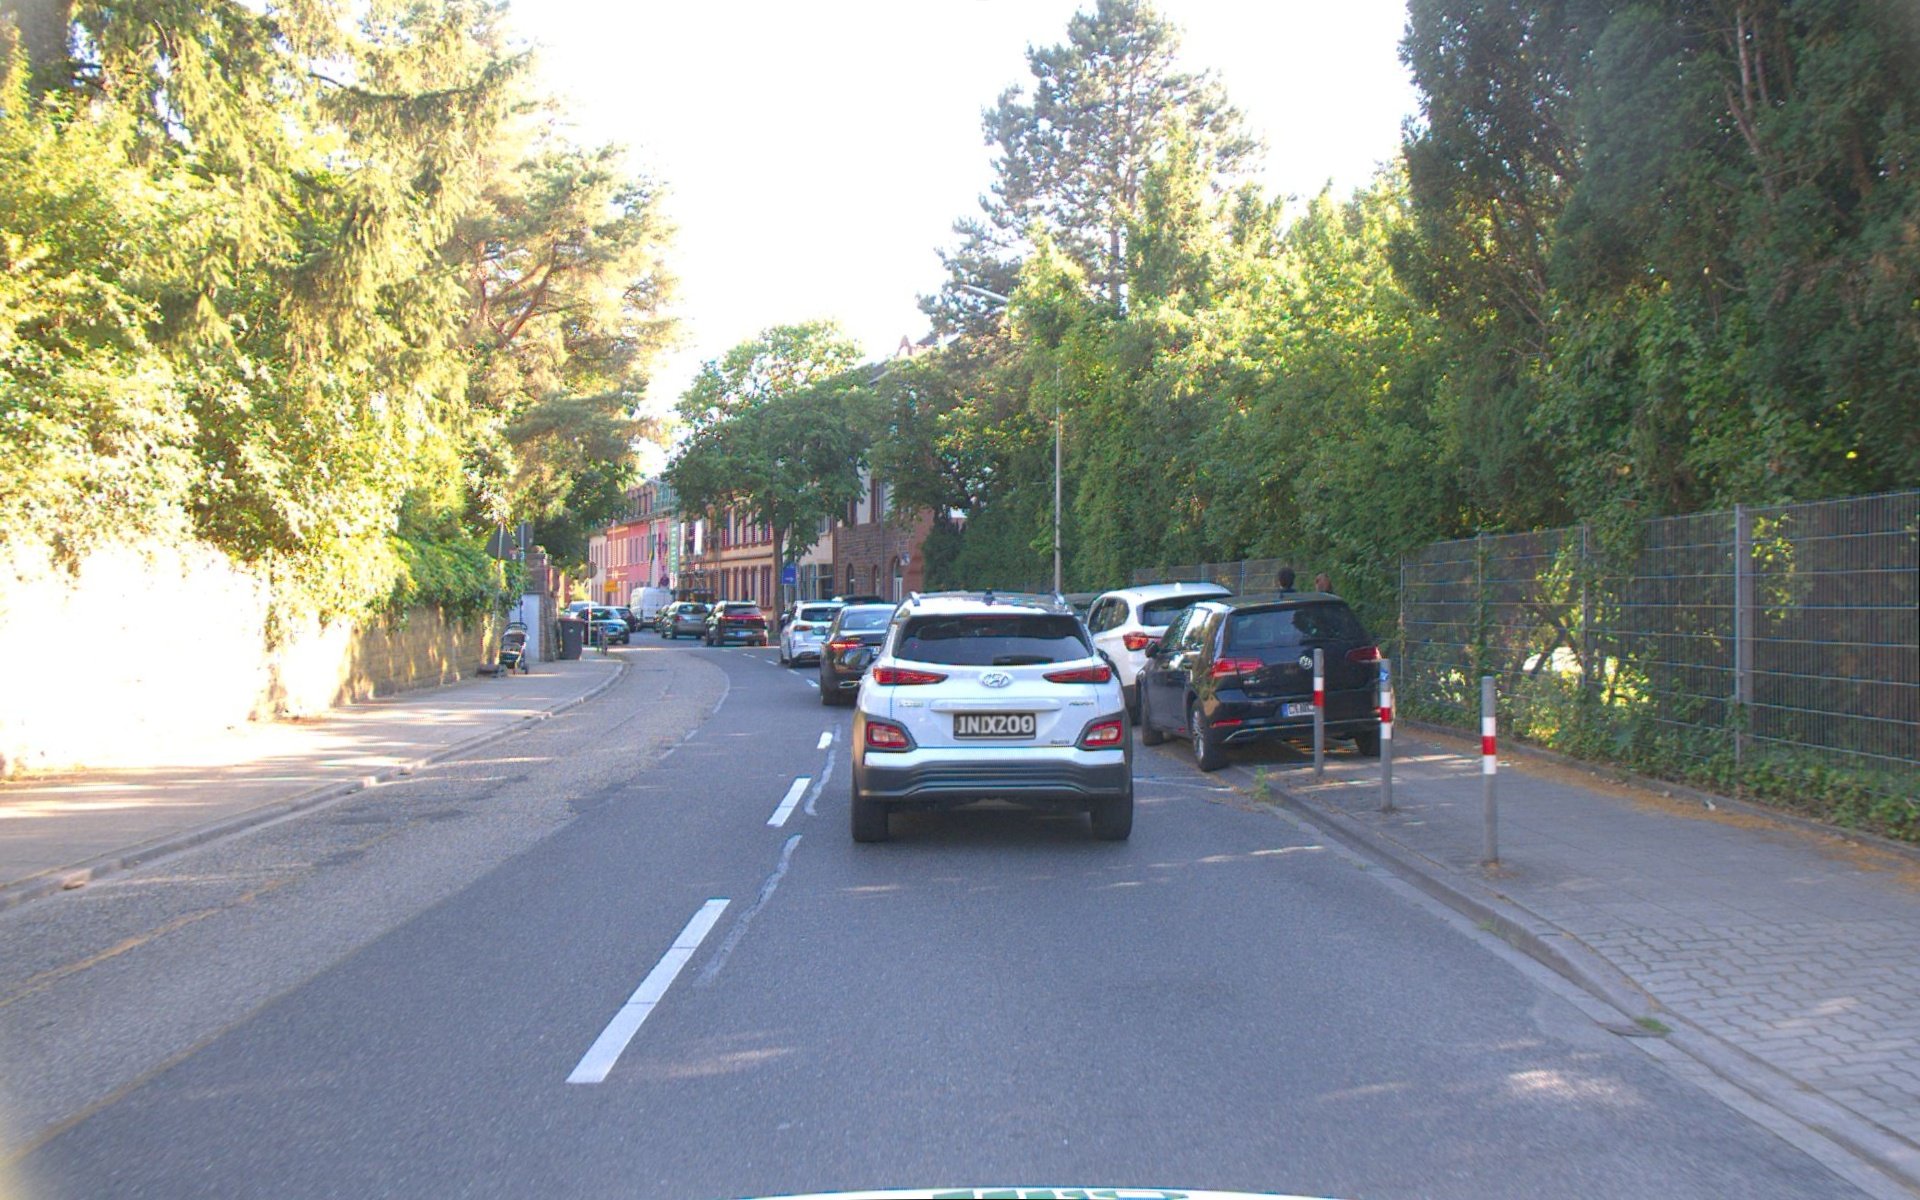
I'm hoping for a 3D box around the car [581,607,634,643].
[{"bbox_3d":[-13.648,0.957,63.919,1.569,1.341,3.790,0,0,-19],"label":"car"}]

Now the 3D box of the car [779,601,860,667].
[{"bbox_3d":[-3.455,0.799,40.169,1.543,1.503,3.537,1,0,-12],"label":"car"}]

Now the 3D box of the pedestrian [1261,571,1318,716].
[{"bbox_3d":[3.814,0.498,19.145,0.493,1.634,0.491,-2,0,-1],"label":"pedestrian"}]

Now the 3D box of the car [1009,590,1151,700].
[{"bbox_3d":[1.826,0.670,26.291,1.562,1.545,3.928,-3,0,-5],"label":"car"}]

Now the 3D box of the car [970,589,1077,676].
[{"bbox_3d":[1.172,0.592,32.084,1.562,1.515,3.598,-3,0,-5],"label":"car"}]

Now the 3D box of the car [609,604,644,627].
[{"bbox_3d":[-18.874,0.876,93.466,1.504,1.282,3.342,0,0,-19],"label":"car"}]

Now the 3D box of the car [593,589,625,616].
[{"bbox_3d":[-26.178,0.171,123.403,1.693,1.970,3.973,-1,0,-22],"label":"car"}]

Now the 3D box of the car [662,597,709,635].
[{"bbox_3d":[-11.930,0.692,71.753,1.564,1.610,3.344,0,0,-17],"label":"car"}]

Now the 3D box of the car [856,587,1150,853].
[{"bbox_3d":[0.256,0.708,11.769,1.736,1.569,4.000,0,0,0],"label":"car"}]

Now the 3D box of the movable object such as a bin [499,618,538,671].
[{"bbox_3d":[-8.823,0.890,33.078,0.485,1.029,1.112,1,-1,-1],"label":"movable object such as a bin"}]

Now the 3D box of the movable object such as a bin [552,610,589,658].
[{"bbox_3d":[-10.140,0.883,43.098,0.776,1.210,0.772,1,-1,-2],"label":"movable object such as a bin"}]

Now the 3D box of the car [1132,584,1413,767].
[{"bbox_3d":[2.814,0.621,15.762,1.653,1.456,3.997,-2,0,-4],"label":"car"}]

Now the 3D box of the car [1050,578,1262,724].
[{"bbox_3d":[2.347,0.596,20.817,1.564,1.592,3.991,-2,0,-9],"label":"car"}]

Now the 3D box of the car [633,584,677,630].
[{"bbox_3d":[-18.347,0.411,99.262,1.900,2.628,4.369,-1,0,-19],"label":"car"}]

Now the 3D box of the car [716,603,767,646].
[{"bbox_3d":[-7.878,0.867,59.569,1.565,1.486,3.089,0,0,-12],"label":"car"}]

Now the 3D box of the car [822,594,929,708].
[{"bbox_3d":[-1.270,0.698,24.858,1.482,1.560,3.546,0,0,-3],"label":"car"}]

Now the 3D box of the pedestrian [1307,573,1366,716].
[{"bbox_3d":[4.343,0.507,19.087,0.493,1.596,0.503,-2,0,-1],"label":"pedestrian"}]
